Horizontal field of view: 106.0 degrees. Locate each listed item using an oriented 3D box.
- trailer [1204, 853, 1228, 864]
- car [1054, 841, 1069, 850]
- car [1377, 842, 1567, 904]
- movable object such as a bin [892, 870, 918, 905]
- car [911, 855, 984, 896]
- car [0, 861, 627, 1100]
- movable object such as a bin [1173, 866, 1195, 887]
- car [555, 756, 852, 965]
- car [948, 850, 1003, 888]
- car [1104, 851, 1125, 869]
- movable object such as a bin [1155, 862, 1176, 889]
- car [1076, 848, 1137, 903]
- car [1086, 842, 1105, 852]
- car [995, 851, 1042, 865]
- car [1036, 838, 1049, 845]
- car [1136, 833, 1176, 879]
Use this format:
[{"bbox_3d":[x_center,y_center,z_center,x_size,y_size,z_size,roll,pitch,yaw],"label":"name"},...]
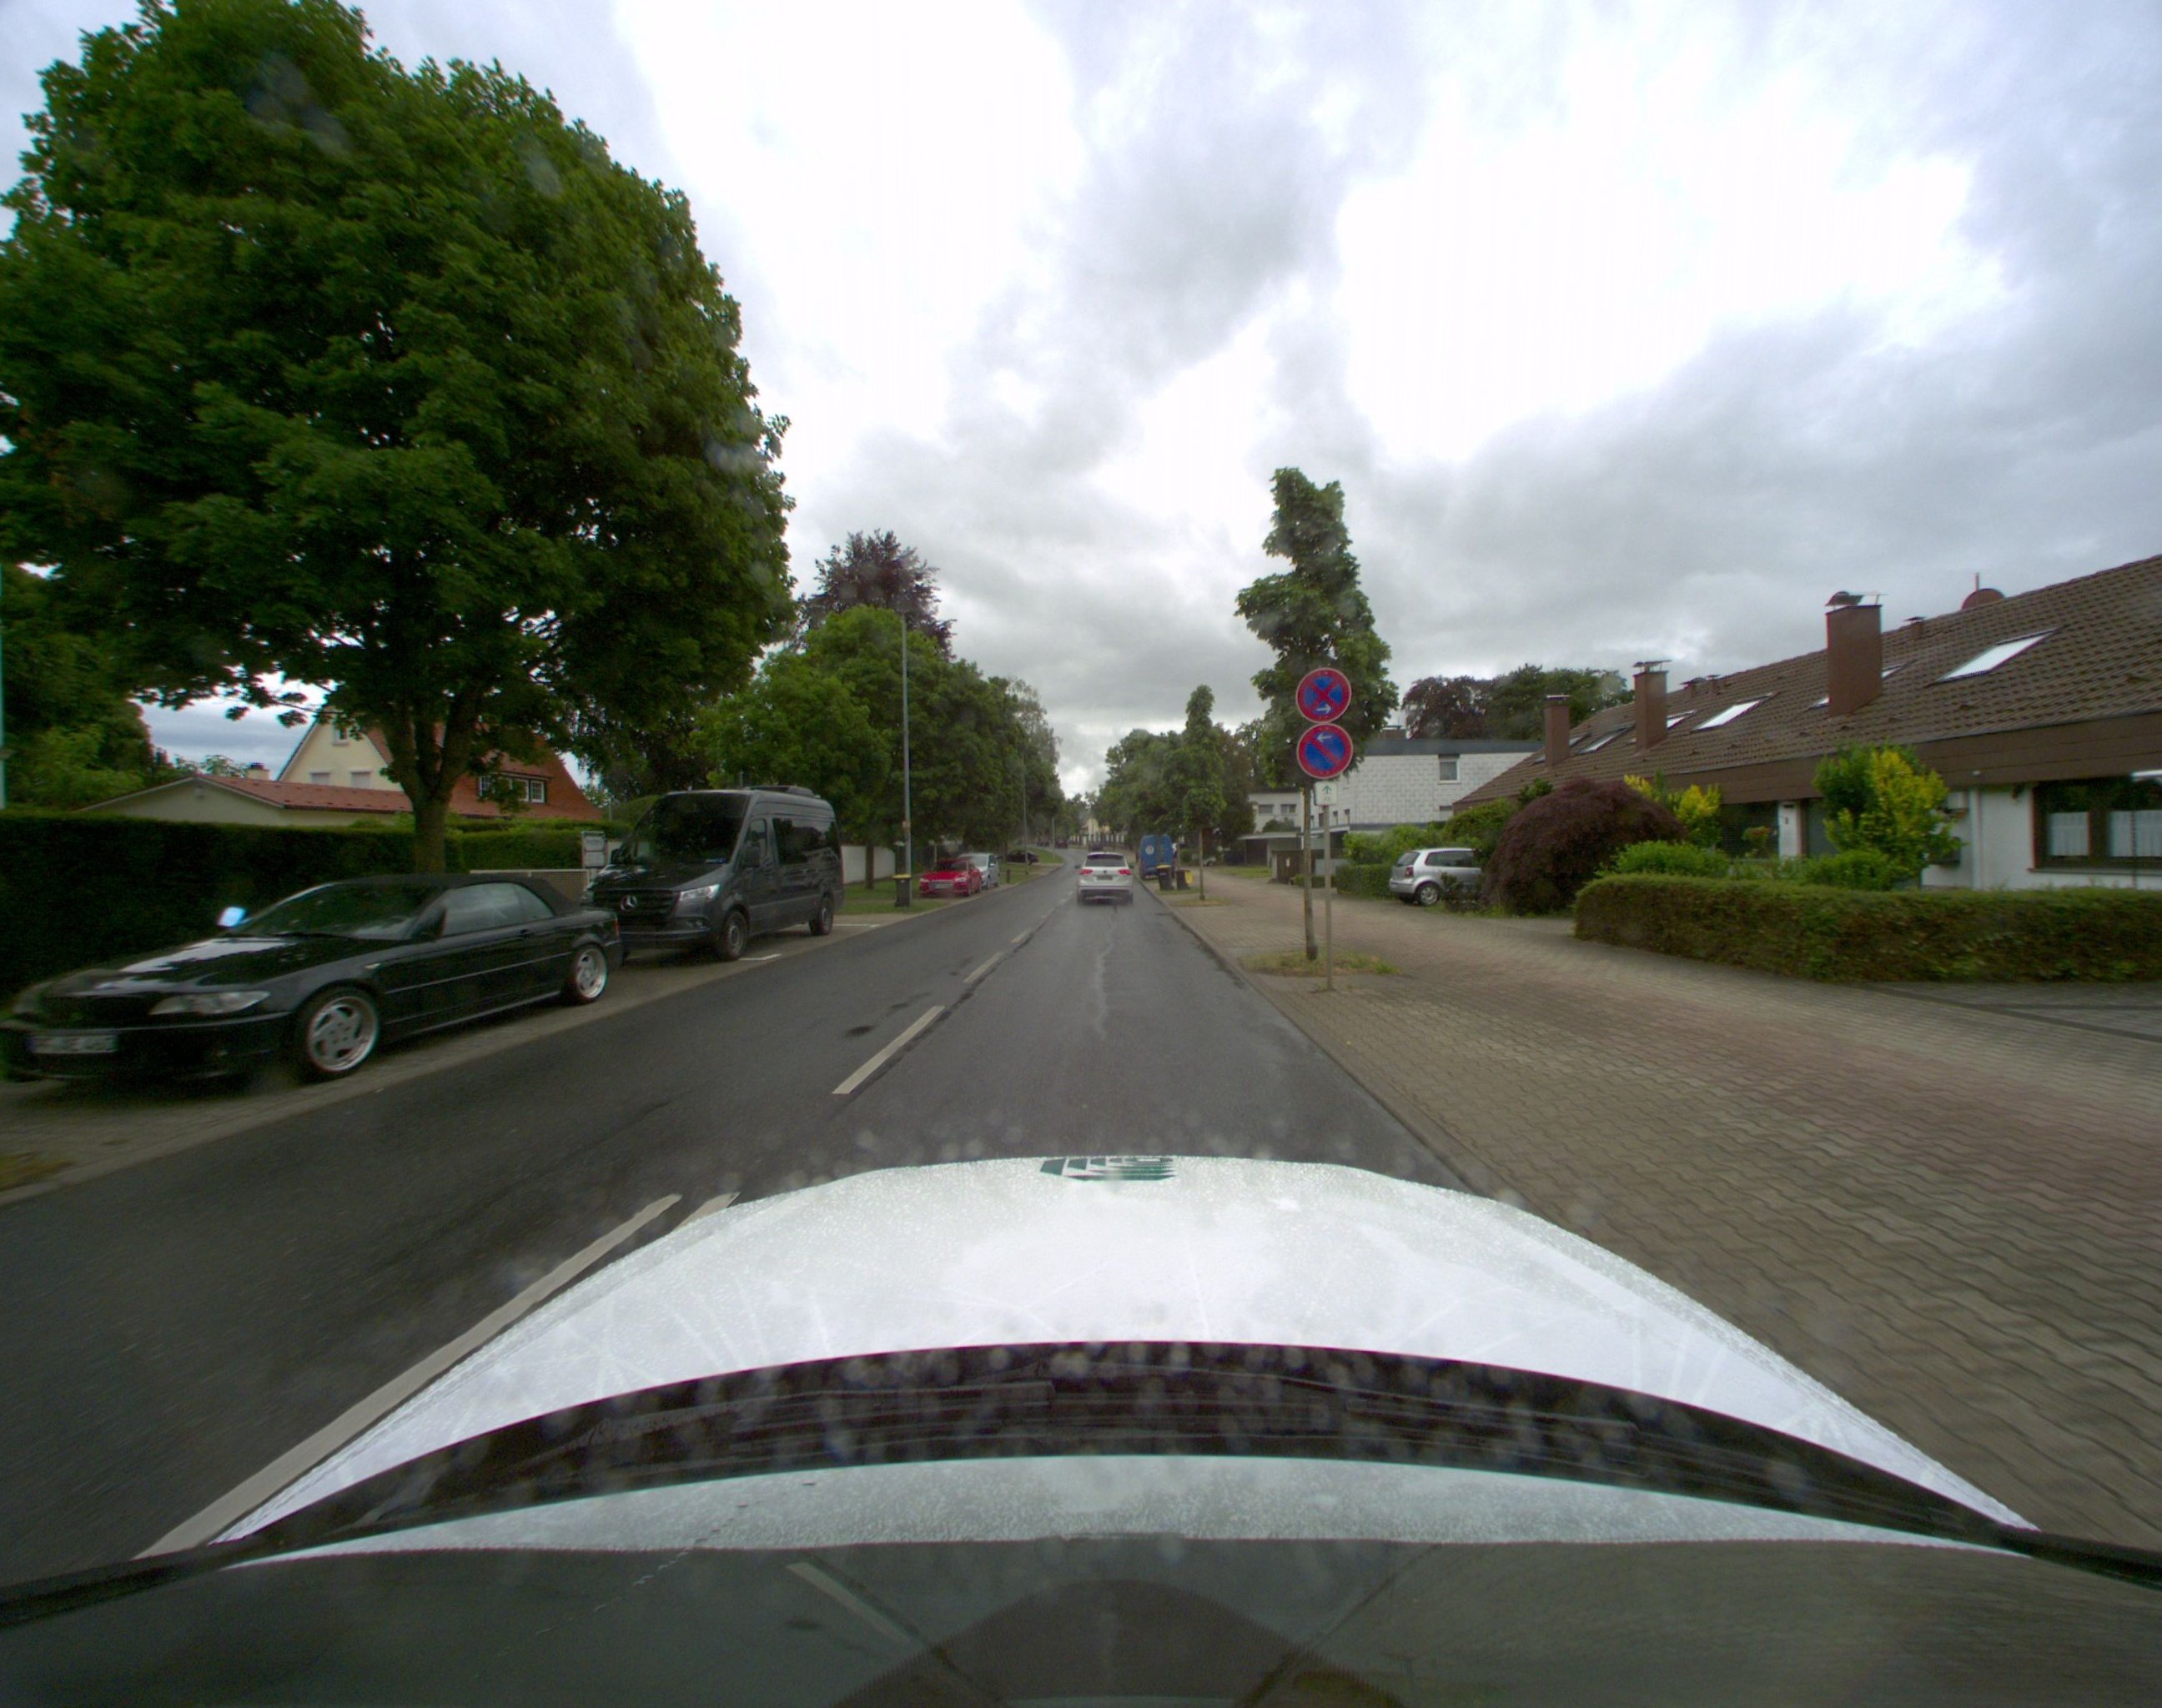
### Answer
[{"bbox_3d":[11.973,0.409,72.405,2.033,0.883,1.366,1,0,4],"label":"trailer"},{"bbox_3d":[-3.342,-1.487,137.010,1.645,1.427,3.980,0,1,-15],"label":"car"},{"bbox_3d":[9.890,0.460,20.809,3.974,1.442,1.847,-1,-1,0],"label":"car"},{"bbox_3d":[-4.880,0.921,22.613,0.555,0.953,0.550,-1,0,5],"label":"movable object such as a bin"},{"bbox_3d":[-5.062,0.779,31.522,1.986,1.403,4.558,-1,0,1],"label":"car"},{"bbox_3d":[-5.892,0.813,7.032,1.716,1.408,3.827,-1,1,1],"label":"car"},{"bbox_3d":[4.143,0.903,32.770,0.653,0.800,0.604,-5,-1,27],"label":"movable object such as a bin"},{"bbox_3d":[-5.791,0.070,13.655,1.986,2.728,5.941,1,0,2],"label":"car"},{"bbox_3d":[-4.752,0.639,37.339,1.749,1.627,4.235,-1,0,3],"label":"car"},{"bbox_3d":[2.934,0.522,72.359,1.763,1.551,4.000,-1,0,0],"label":"car"},{"bbox_3d":[3.467,0.882,33.410,0.608,1.015,0.566,-6,-2,27],"label":"movable object such as a bin"},{"bbox_3d":[0.816,0.660,27.428,1.859,1.650,4.000,-1,0,1],"label":"car"},{"bbox_3d":[2.221,-1.058,123.990,1.646,1.427,3.977,0,1,-17],"label":"car"},{"bbox_3d":[-6.003,0.388,78.618,4.197,1.363,1.693,1,0,6],"label":"car"},{"bbox_3d":[-7.199,-2.347,152.150,1.645,1.427,3.980,0,1,-15],"label":"car"},{"bbox_3d":[4.524,0.105,49.709,1.986,2.586,5.635,-3,0,1],"label":"car"}]
